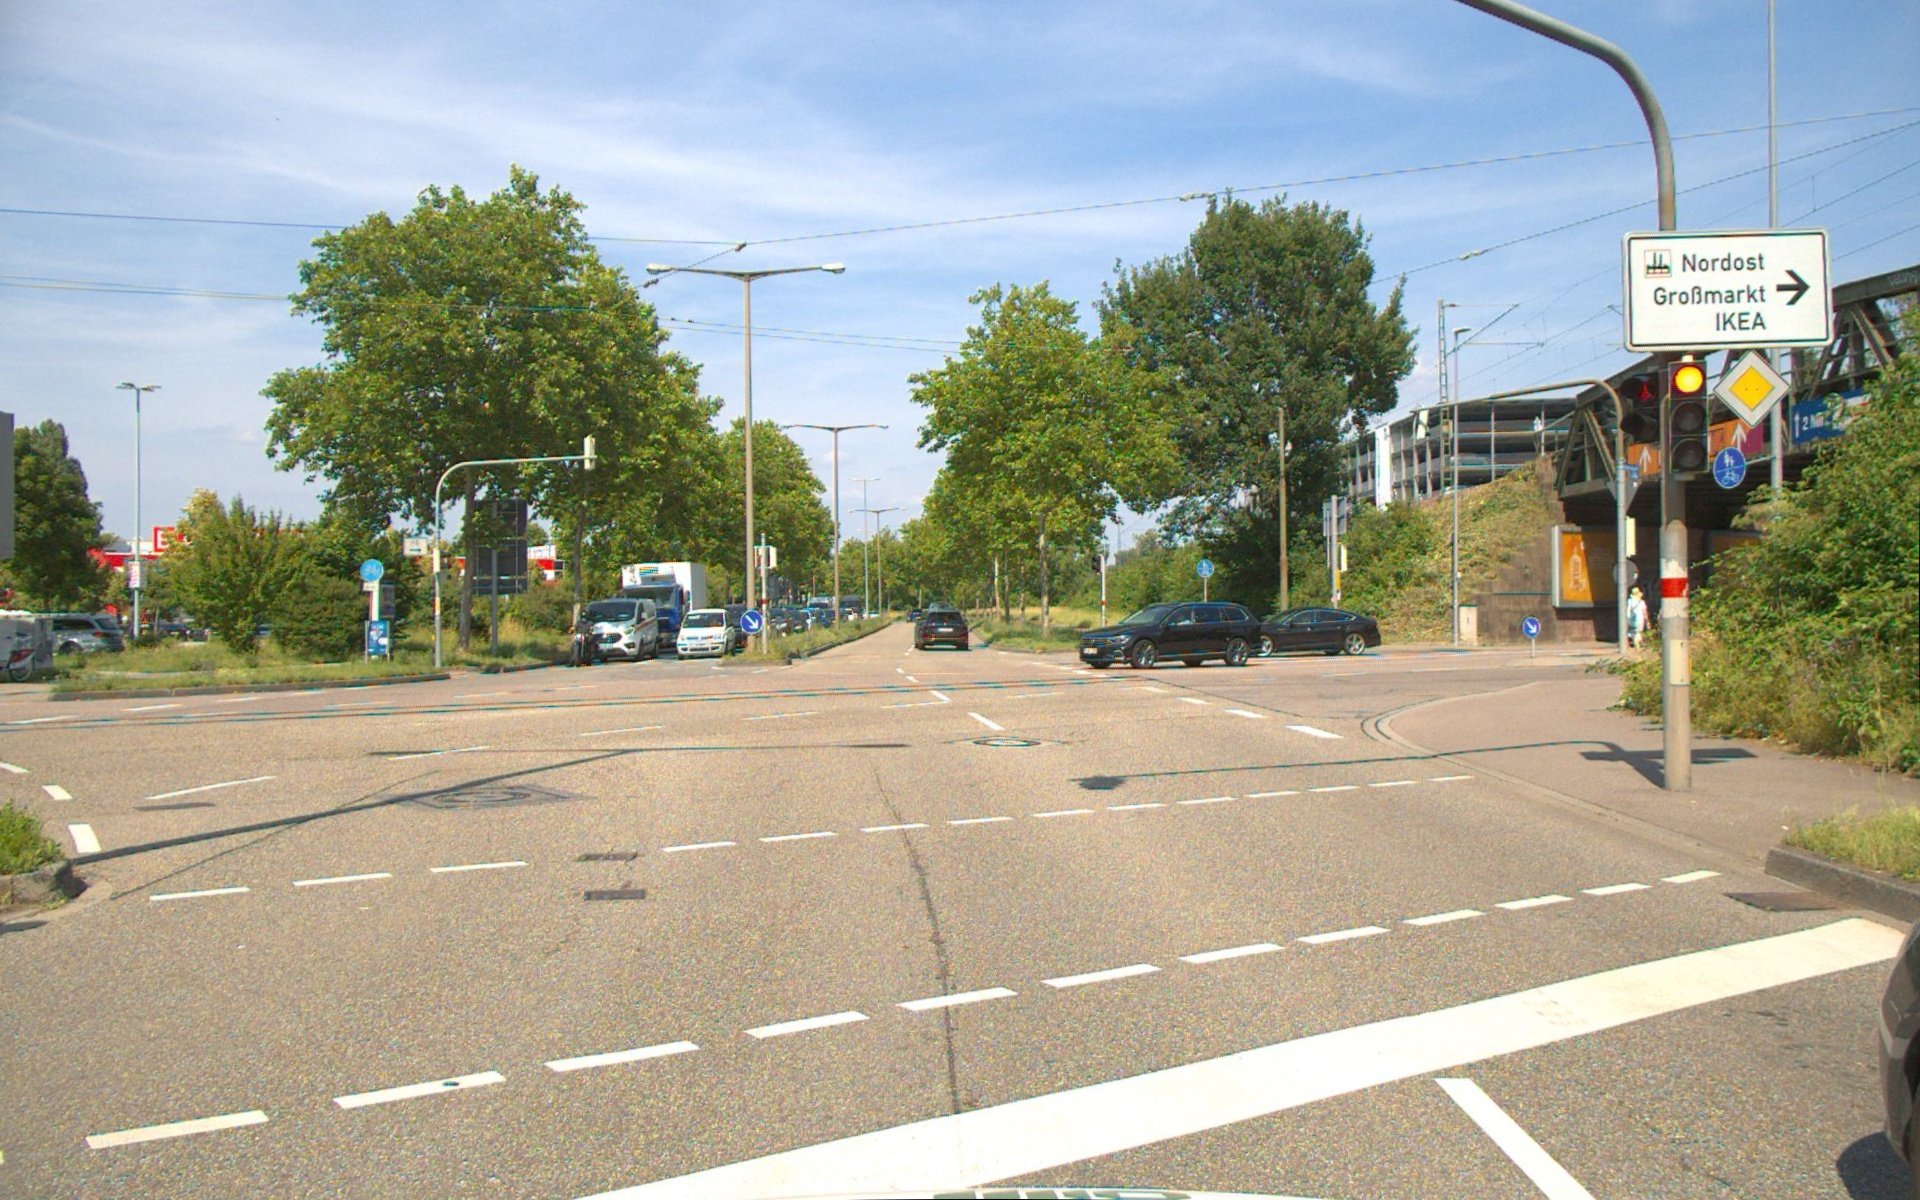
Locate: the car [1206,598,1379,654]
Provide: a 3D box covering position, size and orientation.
[{"bbox_3d":[9.540,0.725,47.543,4.526,1.489,1.908,-1,0,-13],"label":"car"}]

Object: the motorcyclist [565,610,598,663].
[{"bbox_3d":[-10.998,1.047,48.070,0.728,1.496,0.987,-1,0,-1],"label":"motorcyclist"}]

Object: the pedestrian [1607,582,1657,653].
[{"bbox_3d":[15.924,0.411,39.192,0.850,1.640,0.777,-1,0,-1],"label":"pedestrian"}]

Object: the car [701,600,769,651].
[{"bbox_3d":[-7.871,0.896,58.314,1.783,1.675,4.692,-2,-1,-1],"label":"car"}]

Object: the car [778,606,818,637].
[{"bbox_3d":[-8.280,1.087,84.735,1.654,1.497,3.814,-2,0,-1],"label":"car"}]

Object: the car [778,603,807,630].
[{"bbox_3d":[-12.019,1.175,118.710,1.654,1.891,4.035,-2,-1,-1],"label":"car"}]

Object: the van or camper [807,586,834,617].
[{"bbox_3d":[-12.444,0.135,147.691,1.974,2.633,5.516,-2,0,-1],"label":"van or camper"}]

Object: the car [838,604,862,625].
[{"bbox_3d":[-8.774,1.155,131.719,1.654,1.537,3.814,-2,0,-1],"label":"car"}]

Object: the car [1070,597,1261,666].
[{"bbox_3d":[4.735,0.688,37.890,4.166,1.468,1.771,-1,0,-31],"label":"car"}]

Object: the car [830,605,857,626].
[{"bbox_3d":[-8.785,1.166,125.050,1.747,1.484,4.471,-2,0,-1],"label":"car"}]

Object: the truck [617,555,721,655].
[{"bbox_3d":[-11.045,0.159,63.398,2.747,3.532,6.690,-3,0,-1],"label":"truck"}]

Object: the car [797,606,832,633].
[{"bbox_3d":[-8.546,1.137,97.426,1.749,1.515,4.209,-2,0,-2],"label":"car"}]

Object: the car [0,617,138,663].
[{"bbox_3d":[-29.705,1.292,54.195,4.477,1.439,2.197,-1,0,-8],"label":"car"}]

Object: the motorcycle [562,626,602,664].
[{"bbox_3d":[-10.962,1.296,47.976,0.674,1.009,2.217,-1,0,-1],"label":"motorcycle"}]

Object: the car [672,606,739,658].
[{"bbox_3d":[-8.031,0.987,52.439,1.560,1.503,3.728,-2,0,-1],"label":"car"}]

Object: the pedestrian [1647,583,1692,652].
[{"bbox_3d":[16.812,0.413,39.187,0.714,1.607,0.777,-1,0,-1],"label":"pedestrian"}]

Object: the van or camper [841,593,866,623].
[{"bbox_3d":[-9.061,0.723,140.567,1.899,2.410,5.395,-2,-1,-2],"label":"van or camper"}]

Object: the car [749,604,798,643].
[{"bbox_3d":[-8.056,0.993,71.829,1.654,1.614,4.239,-2,0,-1],"label":"car"}]

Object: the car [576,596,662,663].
[{"bbox_3d":[-10.863,0.904,53.028,1.937,2.034,5.028,-1,0,-3],"label":"car"}]

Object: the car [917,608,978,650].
[{"bbox_3d":[-0.414,1.025,59.924,1.795,1.416,4.267,-1,0,5],"label":"car"}]

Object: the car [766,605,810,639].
[{"bbox_3d":[-8.216,1.039,79.100,1.655,1.499,4.217,-3,0,-1],"label":"car"}]

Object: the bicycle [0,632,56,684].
[{"bbox_3d":[-19.939,1.217,34.692,0.581,1.055,1.897,-1,0,13],"label":"bicycle"}]

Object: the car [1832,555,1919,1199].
[{"bbox_3d":[2.996,0.648,2.071,1.640,1.479,4.035,1,0,-1],"label":"car"}]
